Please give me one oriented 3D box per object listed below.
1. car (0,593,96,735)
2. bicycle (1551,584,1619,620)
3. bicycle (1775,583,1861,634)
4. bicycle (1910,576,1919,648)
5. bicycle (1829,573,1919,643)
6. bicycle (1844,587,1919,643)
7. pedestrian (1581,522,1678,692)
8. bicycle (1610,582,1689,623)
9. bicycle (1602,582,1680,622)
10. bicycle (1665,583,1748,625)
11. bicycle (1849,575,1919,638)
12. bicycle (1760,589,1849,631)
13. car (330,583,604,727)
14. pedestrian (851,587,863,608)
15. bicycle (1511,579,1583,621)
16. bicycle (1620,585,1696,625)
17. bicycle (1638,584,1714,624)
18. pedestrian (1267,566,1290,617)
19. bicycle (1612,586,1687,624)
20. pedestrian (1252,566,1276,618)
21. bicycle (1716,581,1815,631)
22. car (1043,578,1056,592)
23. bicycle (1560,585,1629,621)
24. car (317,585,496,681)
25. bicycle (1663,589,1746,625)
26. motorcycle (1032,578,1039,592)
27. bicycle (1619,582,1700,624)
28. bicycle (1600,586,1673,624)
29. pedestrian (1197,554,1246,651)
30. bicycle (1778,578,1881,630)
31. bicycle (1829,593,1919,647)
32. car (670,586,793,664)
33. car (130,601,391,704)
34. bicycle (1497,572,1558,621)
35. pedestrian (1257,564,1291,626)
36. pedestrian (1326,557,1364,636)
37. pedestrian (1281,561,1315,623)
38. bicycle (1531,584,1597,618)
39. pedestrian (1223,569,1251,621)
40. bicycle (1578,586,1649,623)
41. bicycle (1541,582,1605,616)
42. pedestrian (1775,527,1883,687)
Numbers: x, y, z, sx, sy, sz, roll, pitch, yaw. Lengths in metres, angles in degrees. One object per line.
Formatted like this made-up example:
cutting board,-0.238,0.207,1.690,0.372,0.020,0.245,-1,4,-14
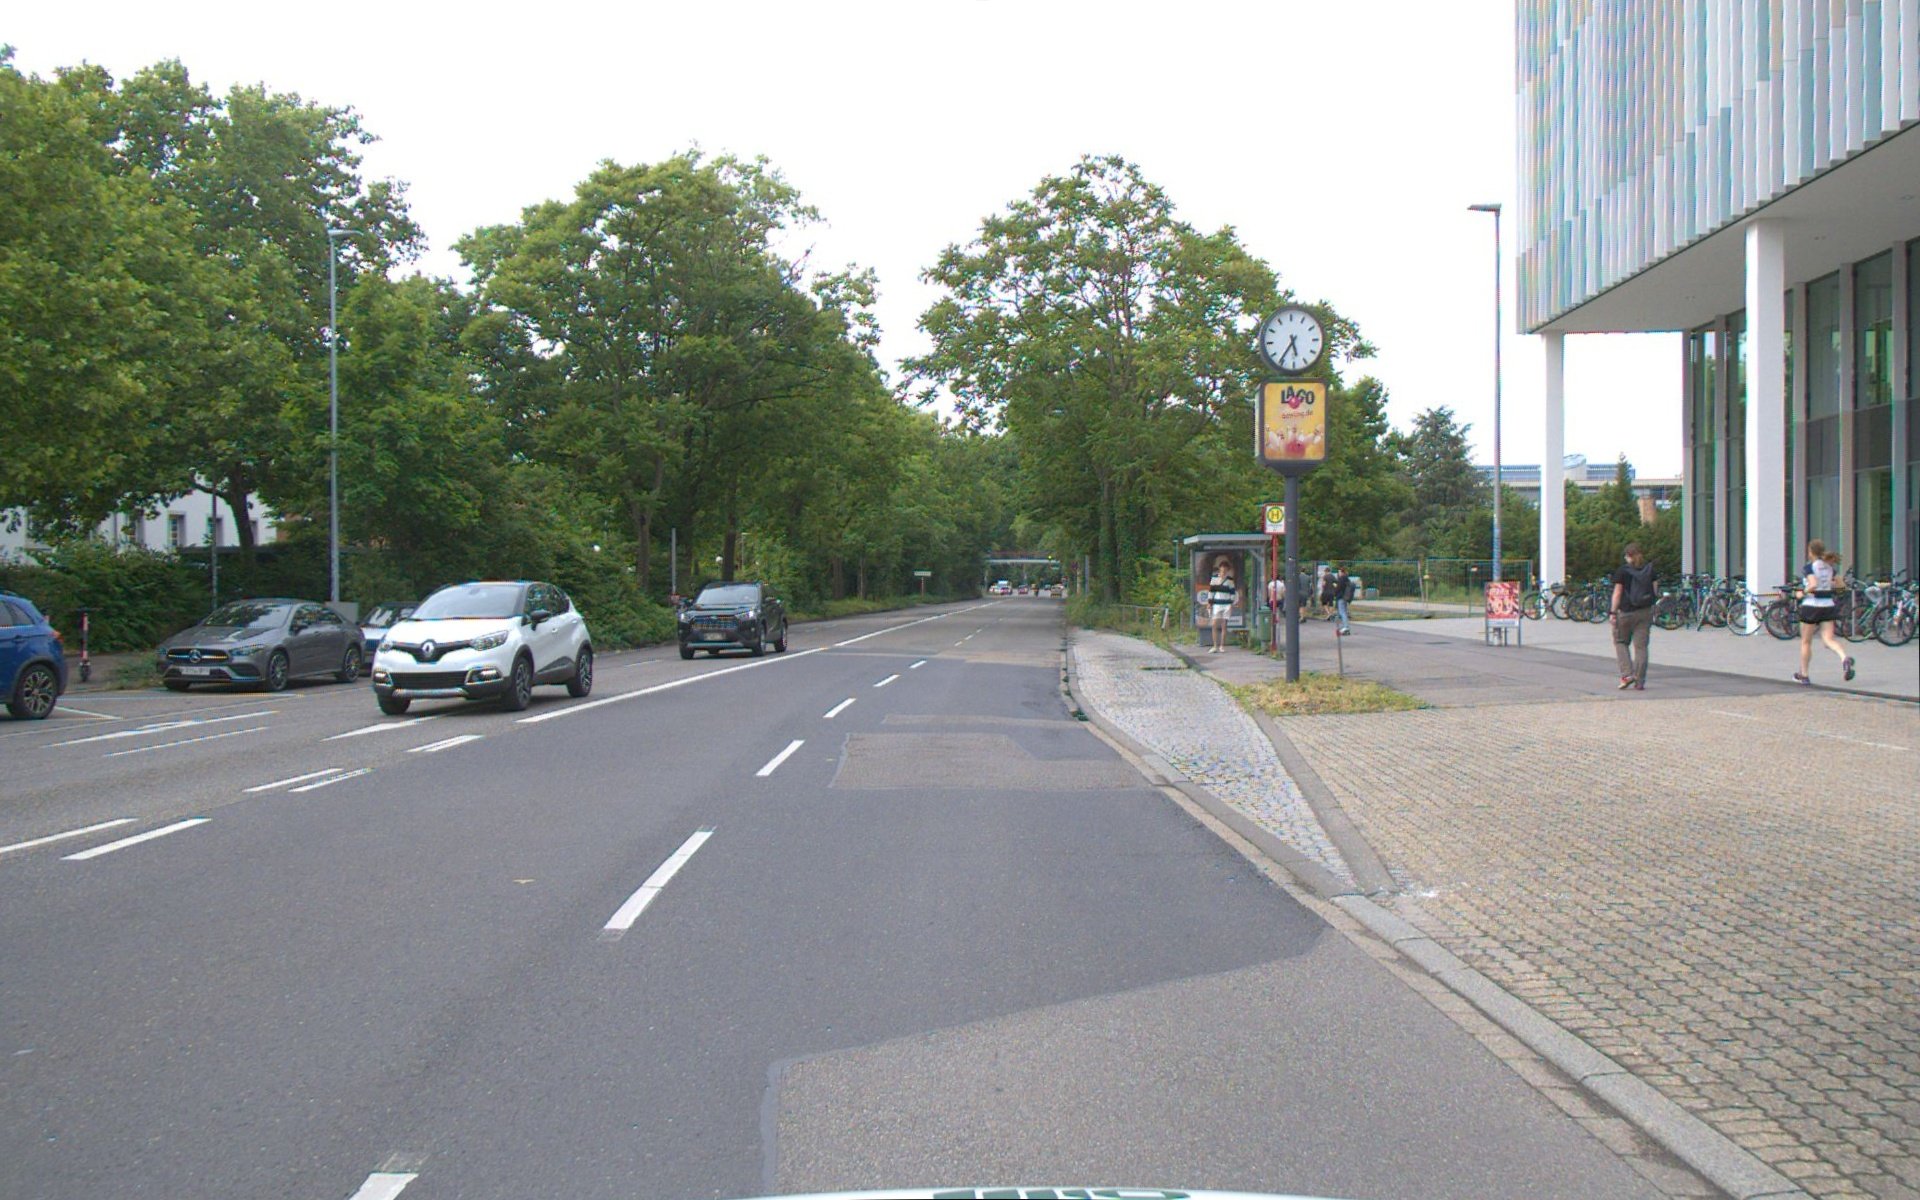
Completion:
car,-12.268,0.756,19.128,1.819,1.635,4.596,1,1,5
bicycle,16.566,0.051,43.851,1.572,0.890,0.556,-2,0,4
bicycle,15.680,0.149,30.242,1.256,0.890,0.556,-2,0,4
bicycle,15.615,0.138,25.406,1.609,1.110,0.573,-3,0,12
bicycle,15.764,0.128,28.132,1.609,1.121,0.573,-3,0,7
bicycle,15.534,0.238,27.294,1.572,0.890,0.556,-1,0,4
pedestrian,8.342,0.085,20.641,0.825,2.049,0.895,-3,0,5
bicycle,16.029,0.058,38.468,1.572,0.890,0.556,-2,0,4
bicycle,16.073,0.052,39.051,1.572,0.890,0.556,-2,0,4
bicycle,15.967,0.090,35.412,1.500,0.848,0.556,-2,0,4
bicycle,16.380,0.120,29.126,1.172,1.068,0.435,-2,0,10
bicycle,16.364,0.185,32.069,1.404,0.759,0.556,-2,0,4
car,-6.061,0.618,20.901,1.952,1.574,4.182,-2,0,4
pedestrian,-8.229,-0.183,132.254,0.775,1.641,0.848,1,0,4
bicycle,16.613,-0.003,46.812,1.757,1.100,0.626,-3,0,2
bicycle,16.670,0.112,39.515,1.572,0.890,0.556,-2,0,4
bicycle,15.922,0.090,36.798,1.424,0.853,0.556,-2,0,4
pedestrian,12.759,-0.338,66.270,0.806,2.049,0.720,-1,0,3
bicycle,16.701,0.113,40.082,1.570,0.900,0.516,-1,0,3
pedestrian,12.090,-0.309,65.769,0.807,2.049,0.720,-1,0,-1
bicycle,15.114,0.114,31.053,1.572,0.890,0.556,-2,0,4
car,12.778,-2.129,235.866,1.805,2.049,4.002,1,1,4
bicycle,16.587,0.082,43.261,1.572,0.890,0.556,-2,0,4
car,-10.830,0.594,32.678,1.952,1.719,4.002,2,0,3
bicycle,16.219,0.148,36.047,1.527,0.729,0.556,-2,0,4
motorcycle,10.973,-2.140,239.565,0.969,1.970,2.670,1,0,4
bicycle,15.836,0.060,37.444,1.572,0.890,0.556,-2,0,4
bicycle,16.783,0.120,41.037,1.572,0.890,0.556,-2,0,4
pedestrian,5.731,0.050,36.316,0.893,2.048,0.854,-2,2,2
bicycle,16.515,0.082,31.444,1.655,0.963,0.517,-1,0,10
bicycle,16.161,0.351,29.026,1.572,0.912,0.366,-1,0,4
car,-5.045,0.512,37.114,1.863,1.621,4.518,-1,0,4
car,-11.514,0.801,27.636,1.834,1.449,4.732,2,1,7
bicycle,16.652,-0.110,48.592,1.612,1.356,0.463,-3,0,17
pedestrian,10.633,-0.168,55.989,0.906,2.049,1.039,-1,0,-1
pedestrian,10.160,-0.090,43.626,0.825,2.049,0.895,-1,0,4
pedestrian,11.419,-0.263,55.863,0.906,2.049,1.039,-1,0,-1
bicycle,16.348,0.014,44.767,1.572,0.890,0.556,-1,0,4
pedestrian,11.066,-0.217,66.099,0.906,2.049,1.039,-1,0,-1
bicycle,16.682,0.121,42.236,1.572,0.890,0.556,-2,0,4
bicycle,16.911,-0.033,45.648,1.573,0.890,0.556,-1,0,0
pedestrian,10.422,0.081,19.872,0.825,1.868,0.895,-1,0,2
